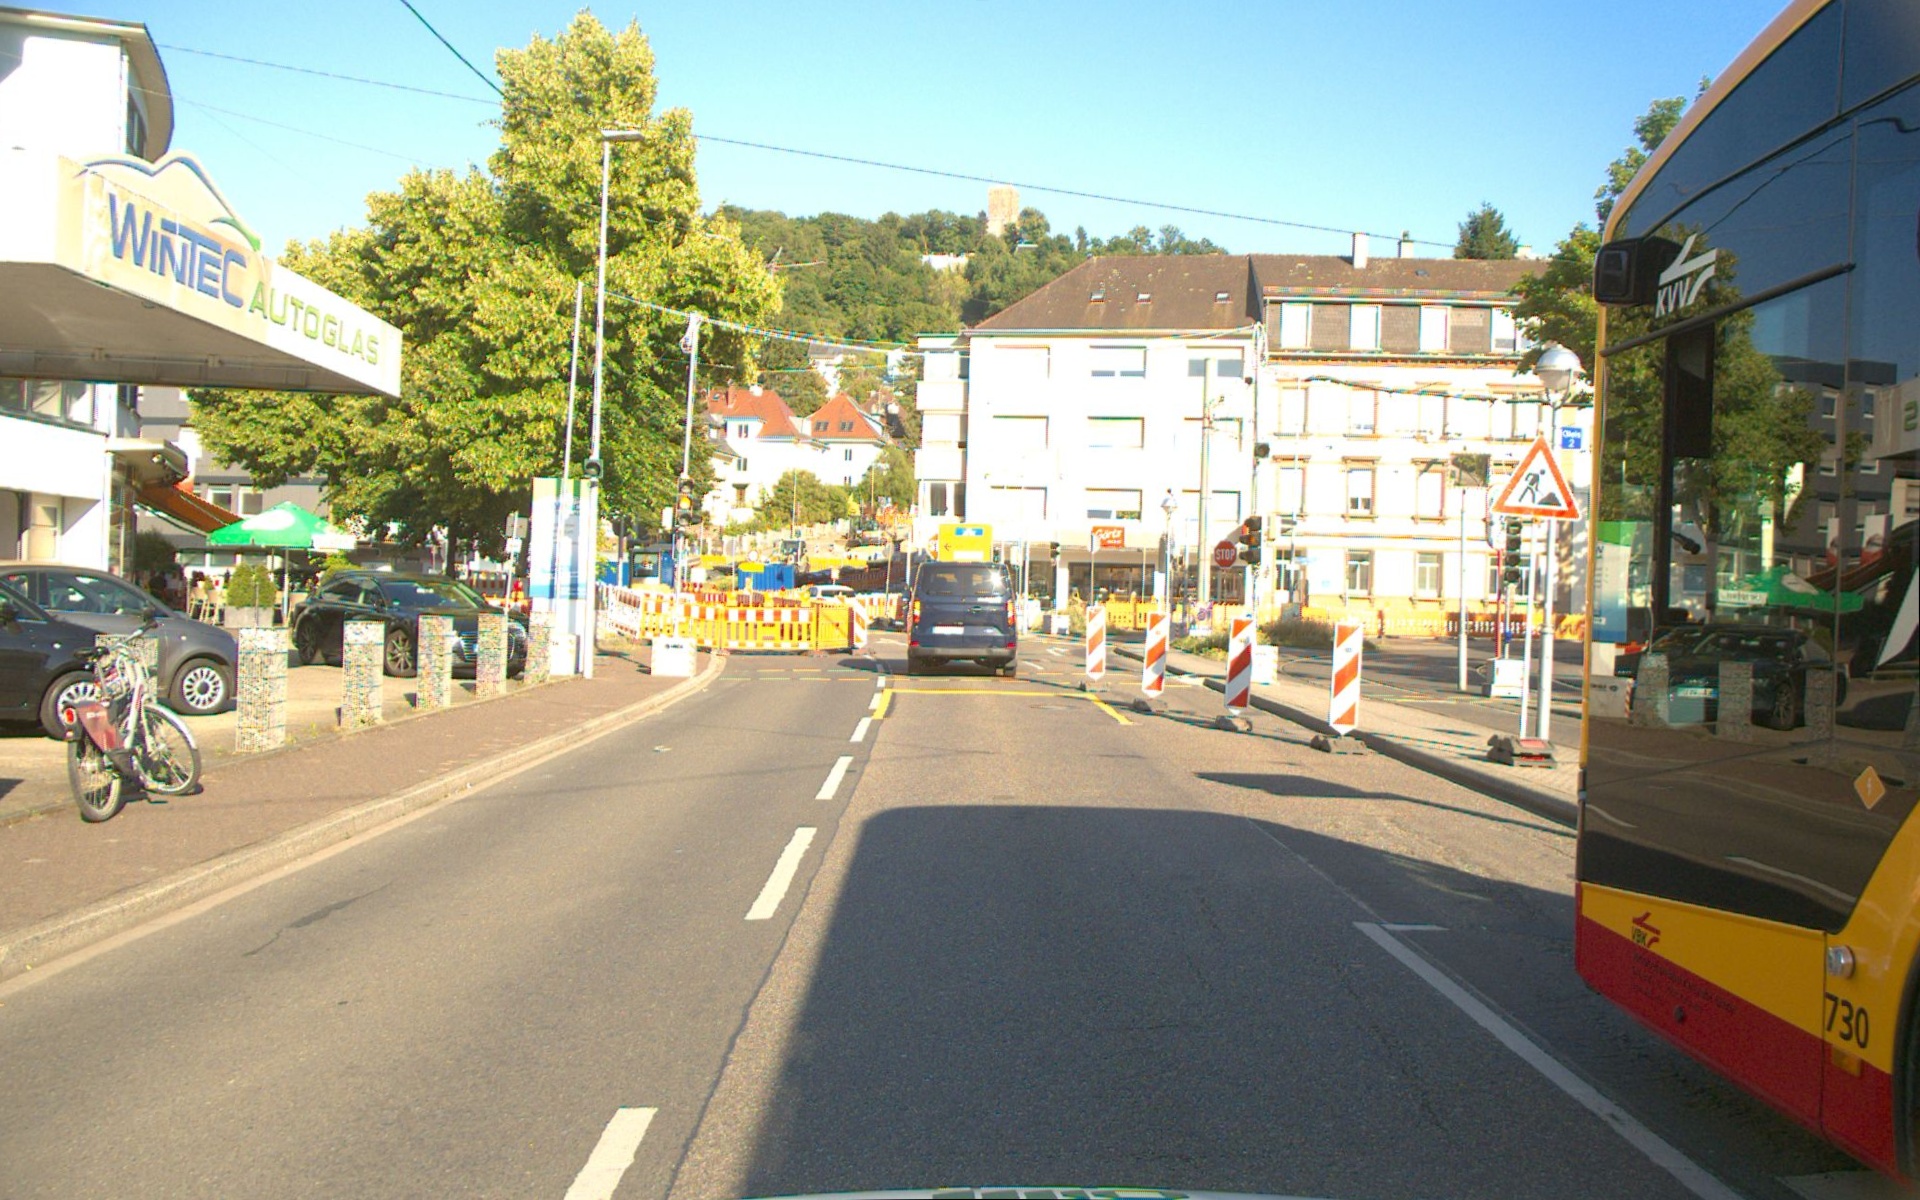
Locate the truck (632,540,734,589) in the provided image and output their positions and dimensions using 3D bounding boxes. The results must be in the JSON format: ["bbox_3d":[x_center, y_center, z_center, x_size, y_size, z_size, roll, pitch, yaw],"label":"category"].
[{"bbox_3d":[-15.045,-1.885,90.563,2.306,2.458,9.160,1,0,11],"label":"truck"}]

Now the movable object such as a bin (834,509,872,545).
[{"bbox_3d":[-8.747,-5.954,135.658,2.144,2.737,4.004,1,0,11],"label":"movable object such as a bin"}]

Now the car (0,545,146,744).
[{"bbox_3d":[-8.636,0.328,13.325,1.594,1.596,3.372,2,0,42],"label":"car"}]

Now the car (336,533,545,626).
[{"bbox_3d":[-9.349,-0.389,29.590,4.224,1.480,1.640,3,1,42],"label":"car"}]

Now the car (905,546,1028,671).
[{"bbox_3d":[0.094,0.174,30.644,2.020,2.049,4.999,2,-1,-1],"label":"car"}]

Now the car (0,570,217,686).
[{"bbox_3d":[-11.261,0.292,21.526,1.555,1.306,4.136,1,1,-4],"label":"car"}]

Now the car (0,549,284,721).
[{"bbox_3d":[-8.812,0.322,16.634,1.591,1.596,3.378,2,0,38],"label":"car"}]

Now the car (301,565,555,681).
[{"bbox_3d":[-8.018,0.305,24.730,1.896,1.480,4.243,2,1,-44],"label":"car"}]

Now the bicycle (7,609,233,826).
[{"bbox_3d":[-5.129,0.673,10.226,0.710,1.198,1.777,1,0,-10],"label":"bicycle"}]

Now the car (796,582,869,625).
[{"bbox_3d":[-4.504,0.115,58.011,1.765,1.434,3.982,1,0,-17],"label":"car"}]

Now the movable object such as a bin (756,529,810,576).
[{"bbox_3d":[-10.787,-2.878,101.109,2.144,2.737,4.004,1,0,11],"label":"movable object such as a bin"}]
